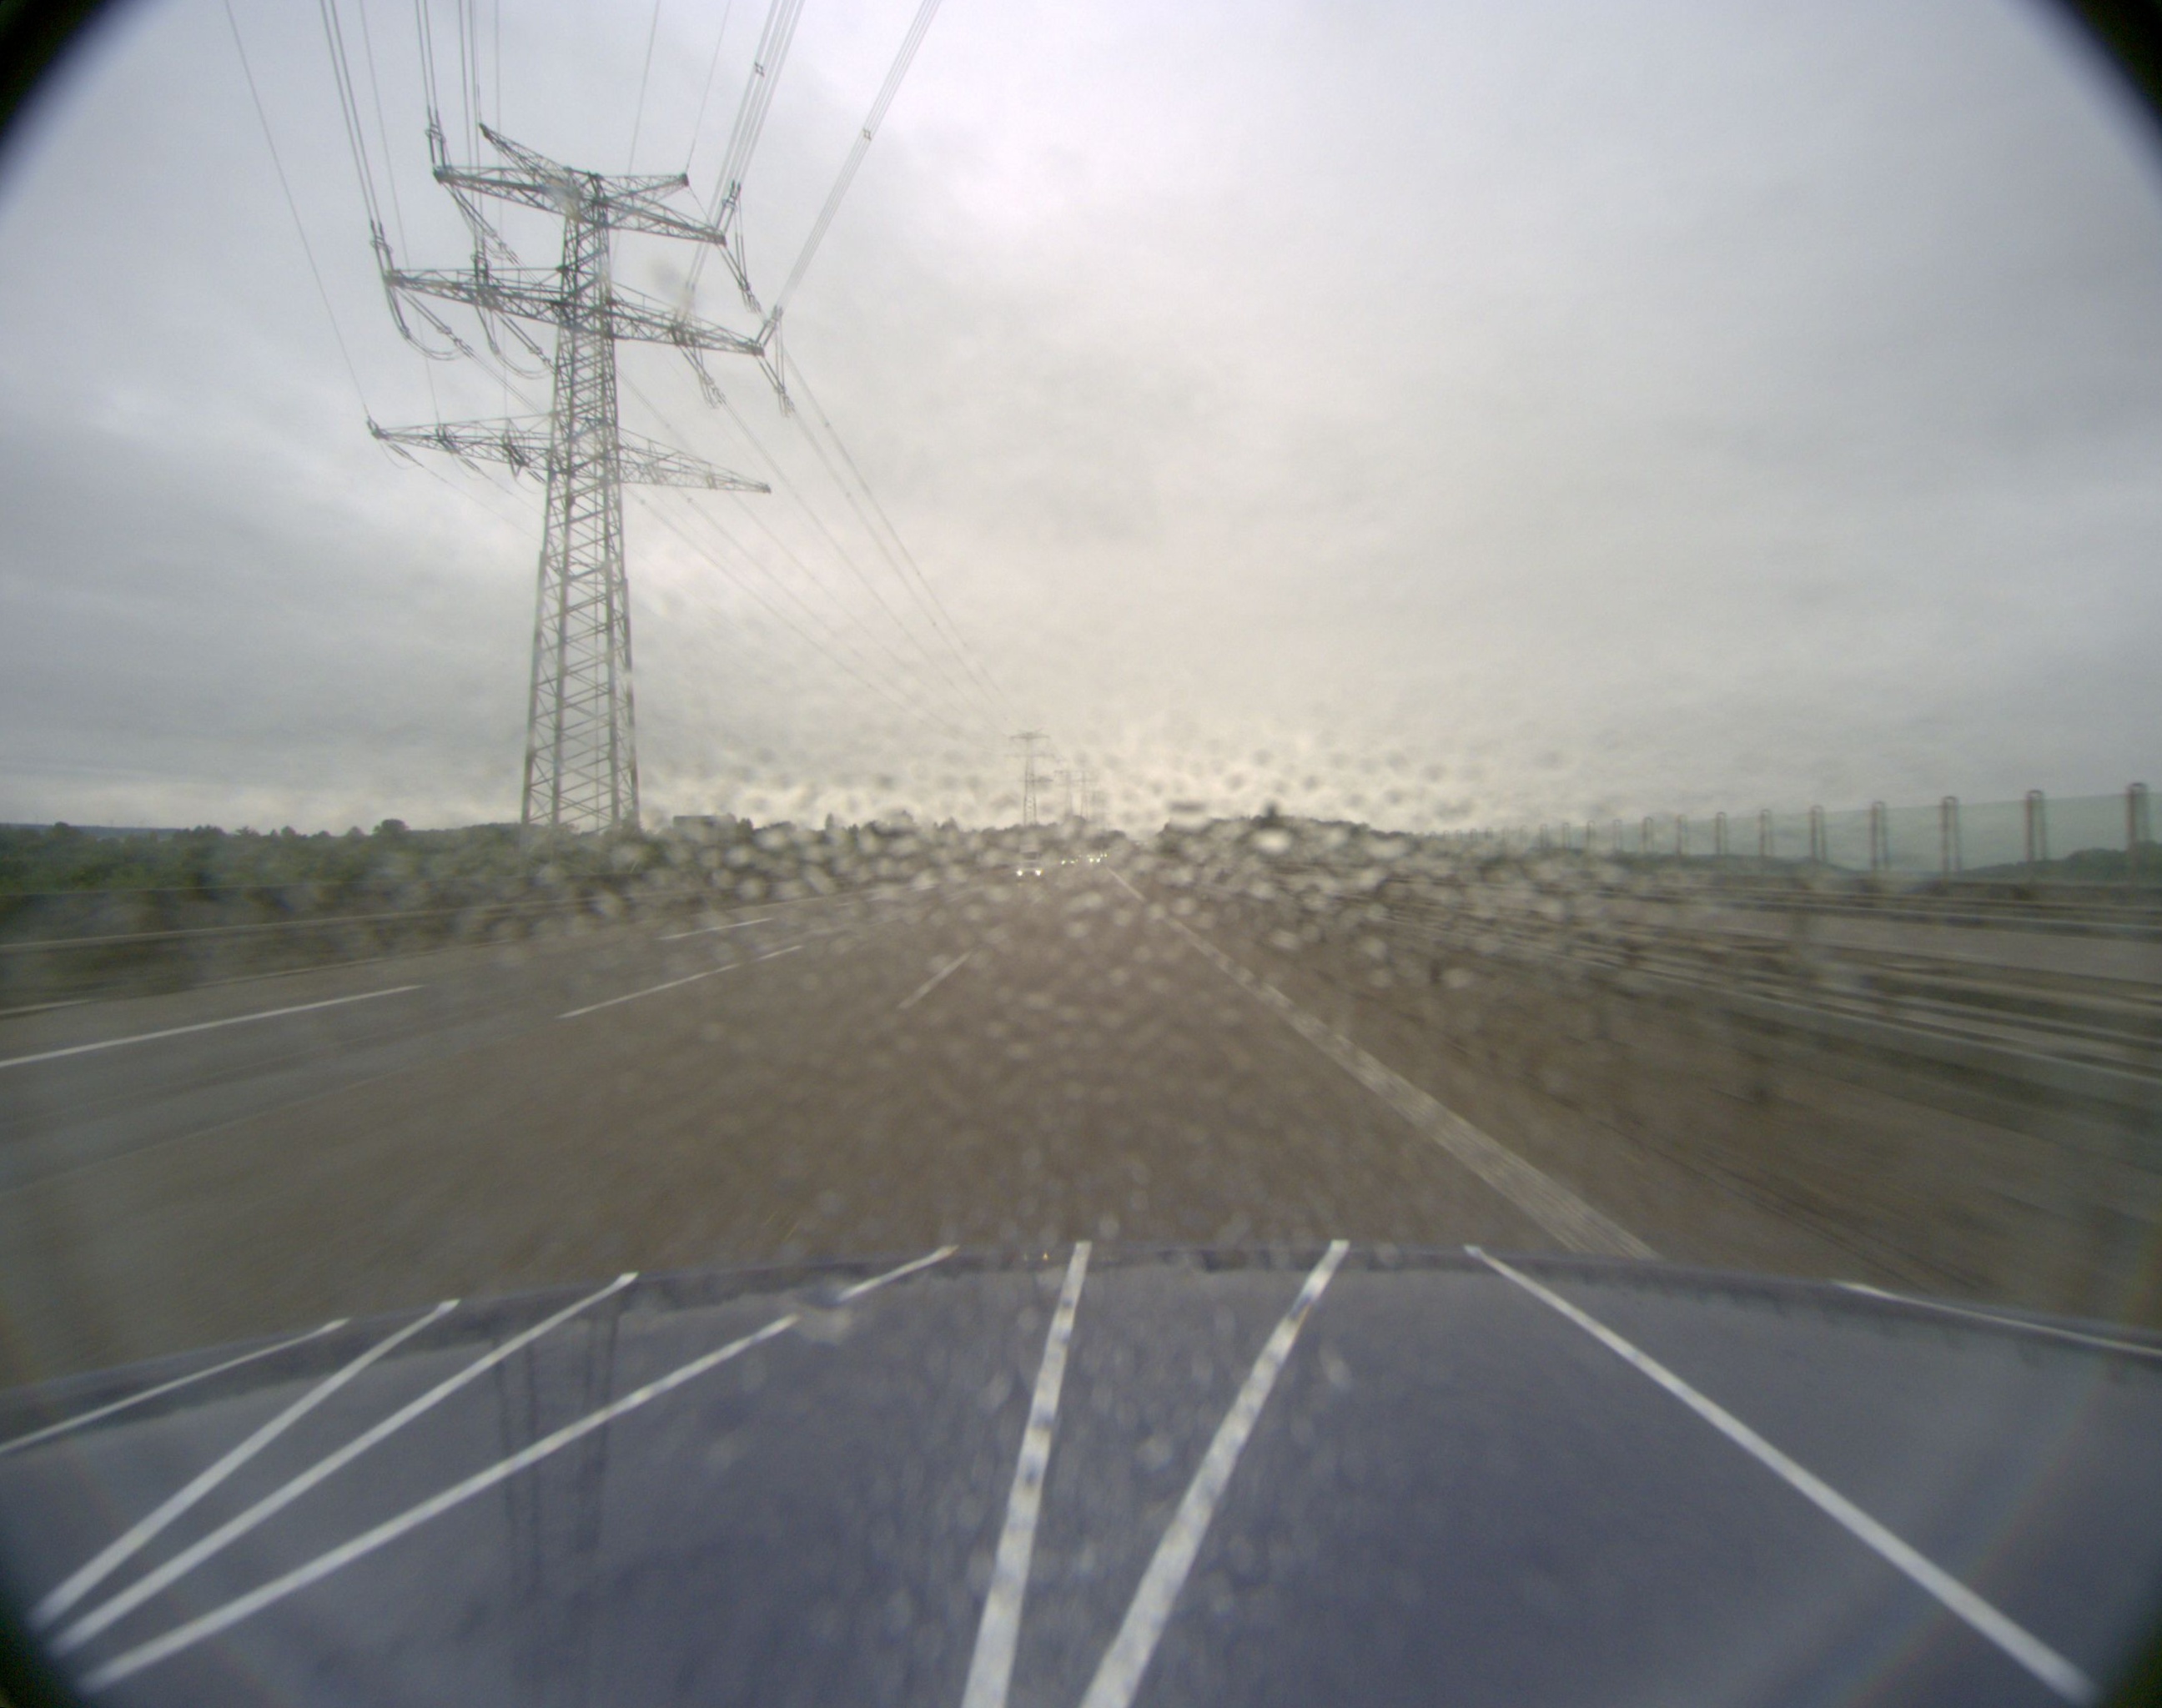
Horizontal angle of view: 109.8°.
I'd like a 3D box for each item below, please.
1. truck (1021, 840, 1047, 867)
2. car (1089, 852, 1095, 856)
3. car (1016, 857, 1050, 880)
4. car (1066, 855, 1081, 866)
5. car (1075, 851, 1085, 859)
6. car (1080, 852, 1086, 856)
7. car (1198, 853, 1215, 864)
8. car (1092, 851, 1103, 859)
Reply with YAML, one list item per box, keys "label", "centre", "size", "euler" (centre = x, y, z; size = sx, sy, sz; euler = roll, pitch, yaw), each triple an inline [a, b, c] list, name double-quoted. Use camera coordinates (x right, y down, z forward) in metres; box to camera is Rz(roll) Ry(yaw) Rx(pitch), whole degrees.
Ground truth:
- label: "truck"
  centre: [-6.111, -0.114, 99.146]
  size: [2.649, 3.325, 6.931]
  euler: [-2, 1, 2]
- label: "car"
  centre: [3.797, -0.001, 259.784]
  size: [1.998, 1.418, 4.000]
  euler: [-2, 0, 2]
- label: "car"
  centre: [-3.296, 0.982, 52.955]
  size: [1.998, 1.418, 4.000]
  euler: [-2, 0, 2]
- label: "car"
  centre: [-1.129, 0.933, 112.638]
  size: [1.998, 1.418, 4.000]
  euler: [-2, 0, 2]
- label: "car"
  centre: [-0.207, 0.212, 155.360]
  size: [1.856, 1.418, 4.000]
  euler: [-2, 0, 2]
- label: "car"
  centre: [0.614, 0.017, 259.744]
  size: [1.783, 1.482, 4.000]
  euler: [-2, 0, 2]
- label: "car"
  centre: [19.226, 0.611, 116.541]
  size: [1.998, 1.620, 4.713]
  euler: [0, 0, 1]
- label: "car"
  centre: [3.230, 0.161, 146.726]
  size: [1.998, 1.418, 4.000]
  euler: [-2, 0, 2]
